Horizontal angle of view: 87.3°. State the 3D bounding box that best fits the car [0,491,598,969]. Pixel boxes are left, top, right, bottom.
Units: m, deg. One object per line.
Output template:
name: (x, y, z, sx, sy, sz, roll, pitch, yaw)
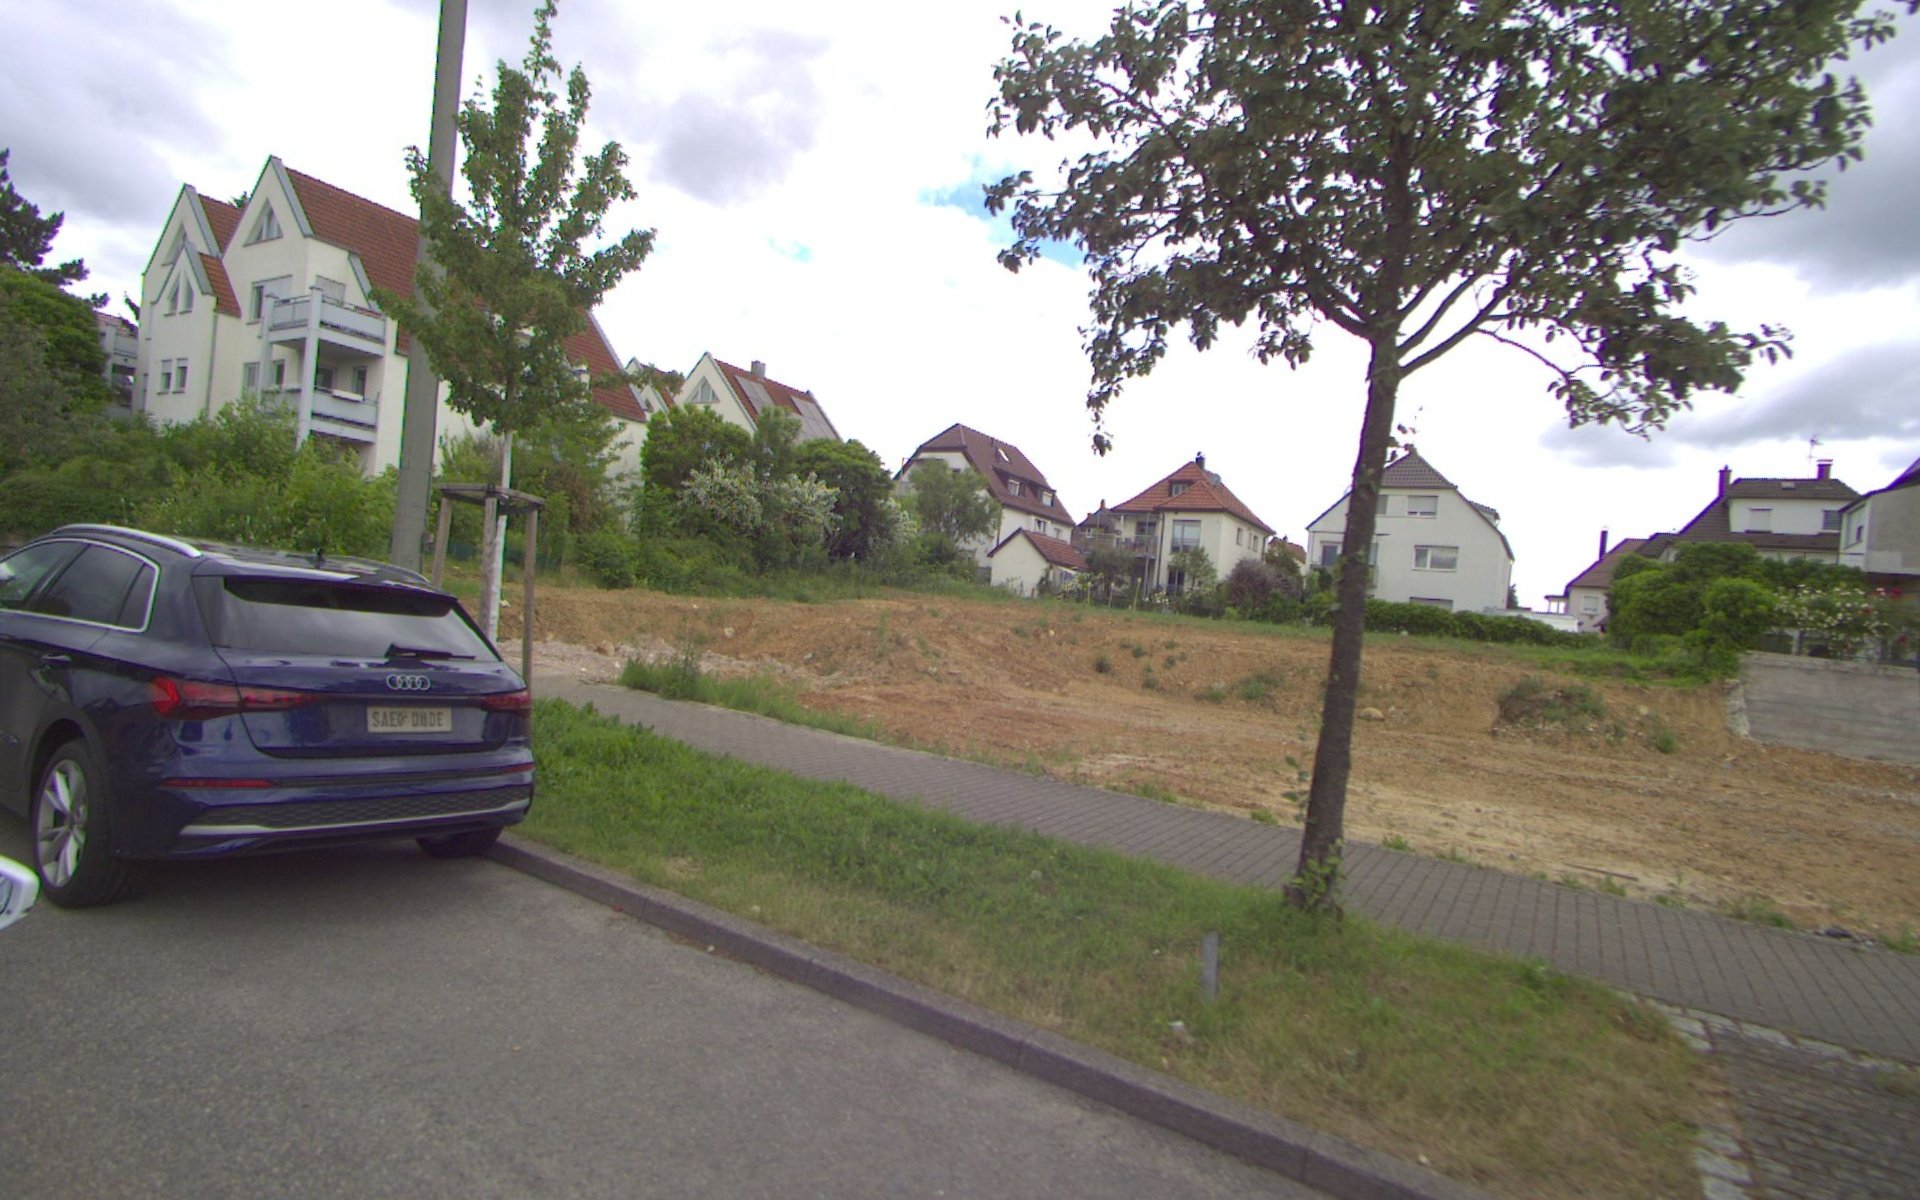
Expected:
car: (-4.011, 0.344, 5.136, 4.149, 1.534, 1.668, 6, -1, 30)
